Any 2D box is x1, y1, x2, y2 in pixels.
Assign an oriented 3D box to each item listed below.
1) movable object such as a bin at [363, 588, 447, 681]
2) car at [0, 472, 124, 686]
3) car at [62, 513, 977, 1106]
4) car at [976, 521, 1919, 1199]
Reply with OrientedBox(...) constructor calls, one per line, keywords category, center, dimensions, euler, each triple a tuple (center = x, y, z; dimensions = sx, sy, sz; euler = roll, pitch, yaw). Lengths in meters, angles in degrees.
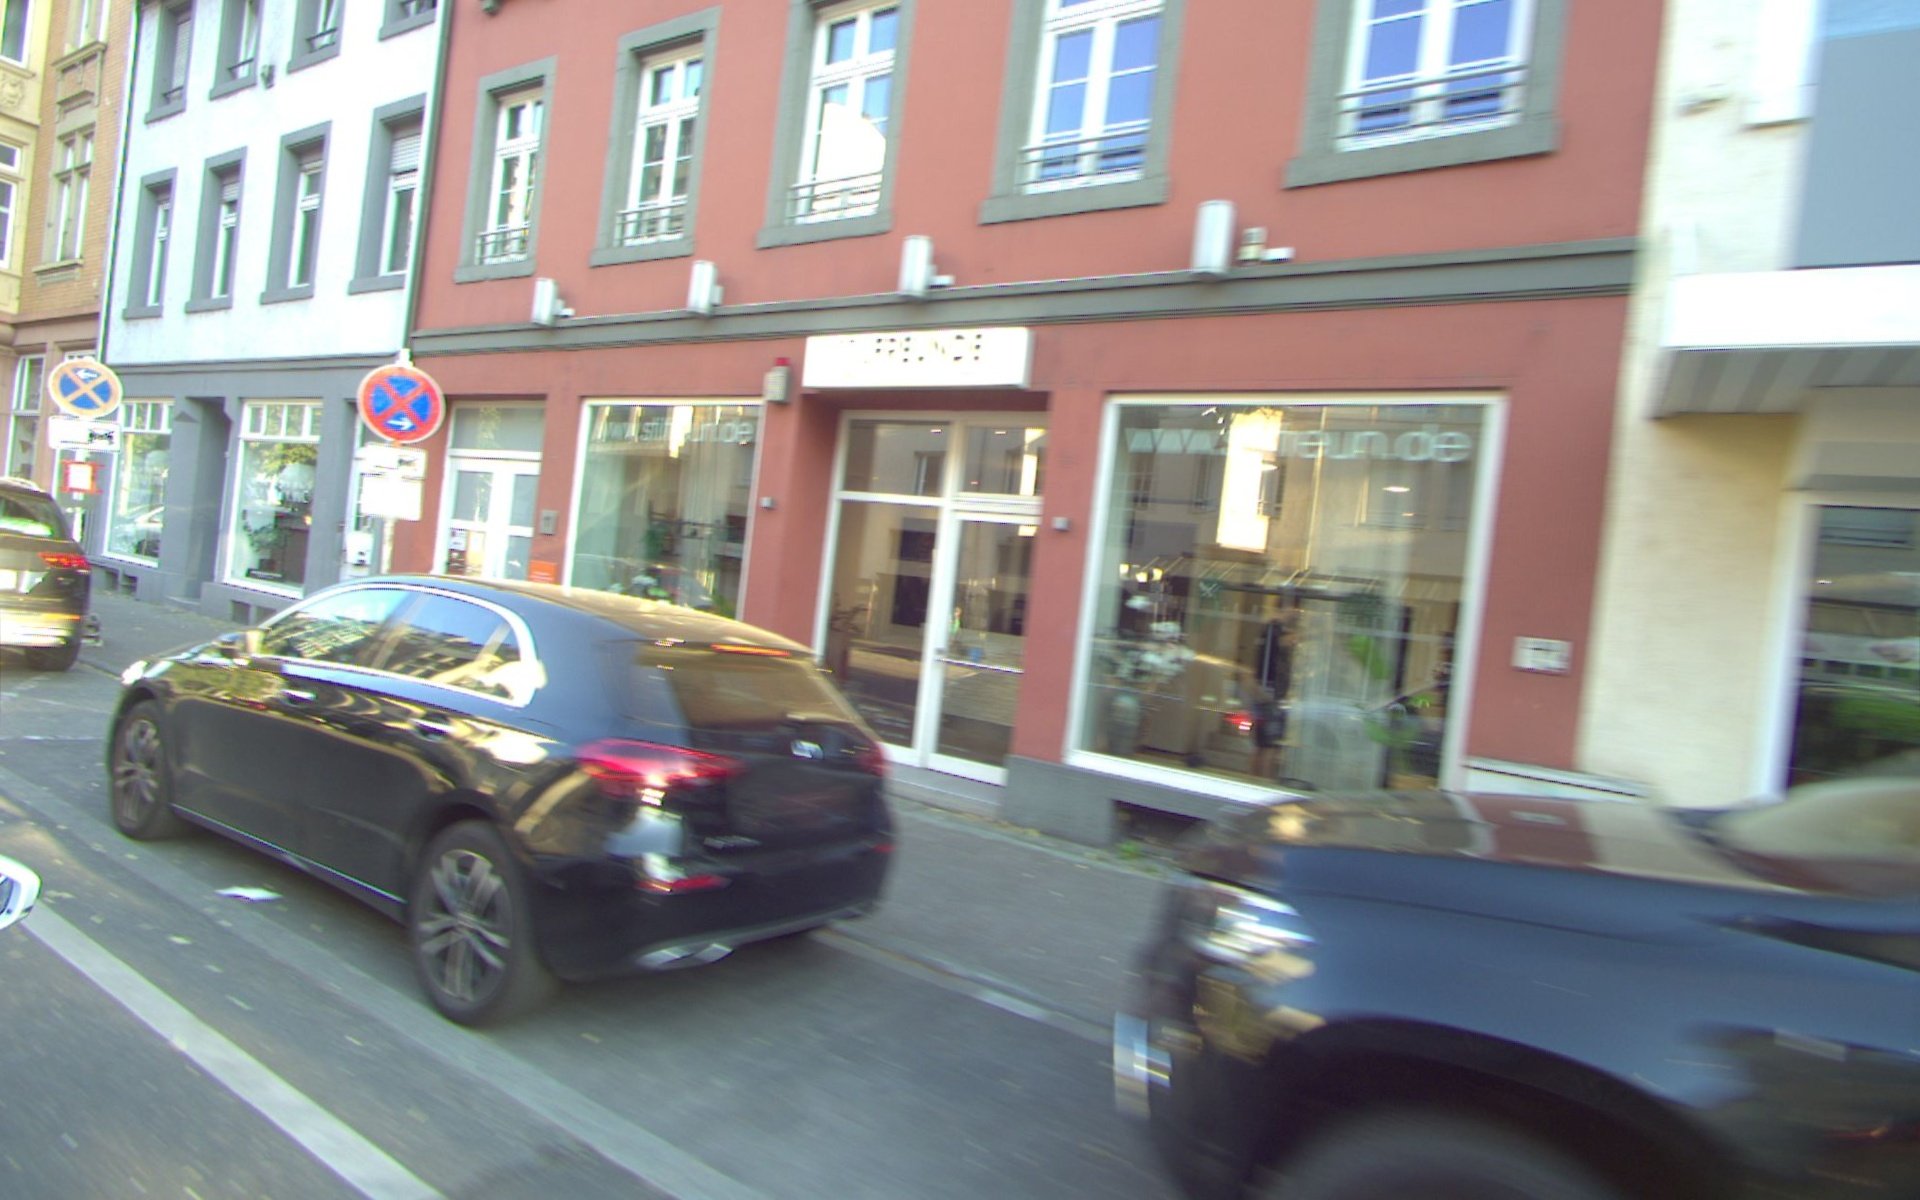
OrientedBox(category="movable object such as a bin", center=(-6.063, 0.384, 11.006), dimensions=(0.477, 0.949, 0.553), euler=(7, 0, 30))
OrientedBox(category="car", center=(-9.509, -0.373, 9.014), dimensions=(4.137, 1.687, 1.815), euler=(6, -2, 33))
OrientedBox(category="car", center=(-2.249, 0.576, 4.729), dimensions=(4.236, 1.501, 1.765), euler=(6, -2, 33))
OrientedBox(category="car", center=(2.693, 1.029, 1.704), dimensions=(4.974, 1.775, 1.887), euler=(6, -2, 31))
